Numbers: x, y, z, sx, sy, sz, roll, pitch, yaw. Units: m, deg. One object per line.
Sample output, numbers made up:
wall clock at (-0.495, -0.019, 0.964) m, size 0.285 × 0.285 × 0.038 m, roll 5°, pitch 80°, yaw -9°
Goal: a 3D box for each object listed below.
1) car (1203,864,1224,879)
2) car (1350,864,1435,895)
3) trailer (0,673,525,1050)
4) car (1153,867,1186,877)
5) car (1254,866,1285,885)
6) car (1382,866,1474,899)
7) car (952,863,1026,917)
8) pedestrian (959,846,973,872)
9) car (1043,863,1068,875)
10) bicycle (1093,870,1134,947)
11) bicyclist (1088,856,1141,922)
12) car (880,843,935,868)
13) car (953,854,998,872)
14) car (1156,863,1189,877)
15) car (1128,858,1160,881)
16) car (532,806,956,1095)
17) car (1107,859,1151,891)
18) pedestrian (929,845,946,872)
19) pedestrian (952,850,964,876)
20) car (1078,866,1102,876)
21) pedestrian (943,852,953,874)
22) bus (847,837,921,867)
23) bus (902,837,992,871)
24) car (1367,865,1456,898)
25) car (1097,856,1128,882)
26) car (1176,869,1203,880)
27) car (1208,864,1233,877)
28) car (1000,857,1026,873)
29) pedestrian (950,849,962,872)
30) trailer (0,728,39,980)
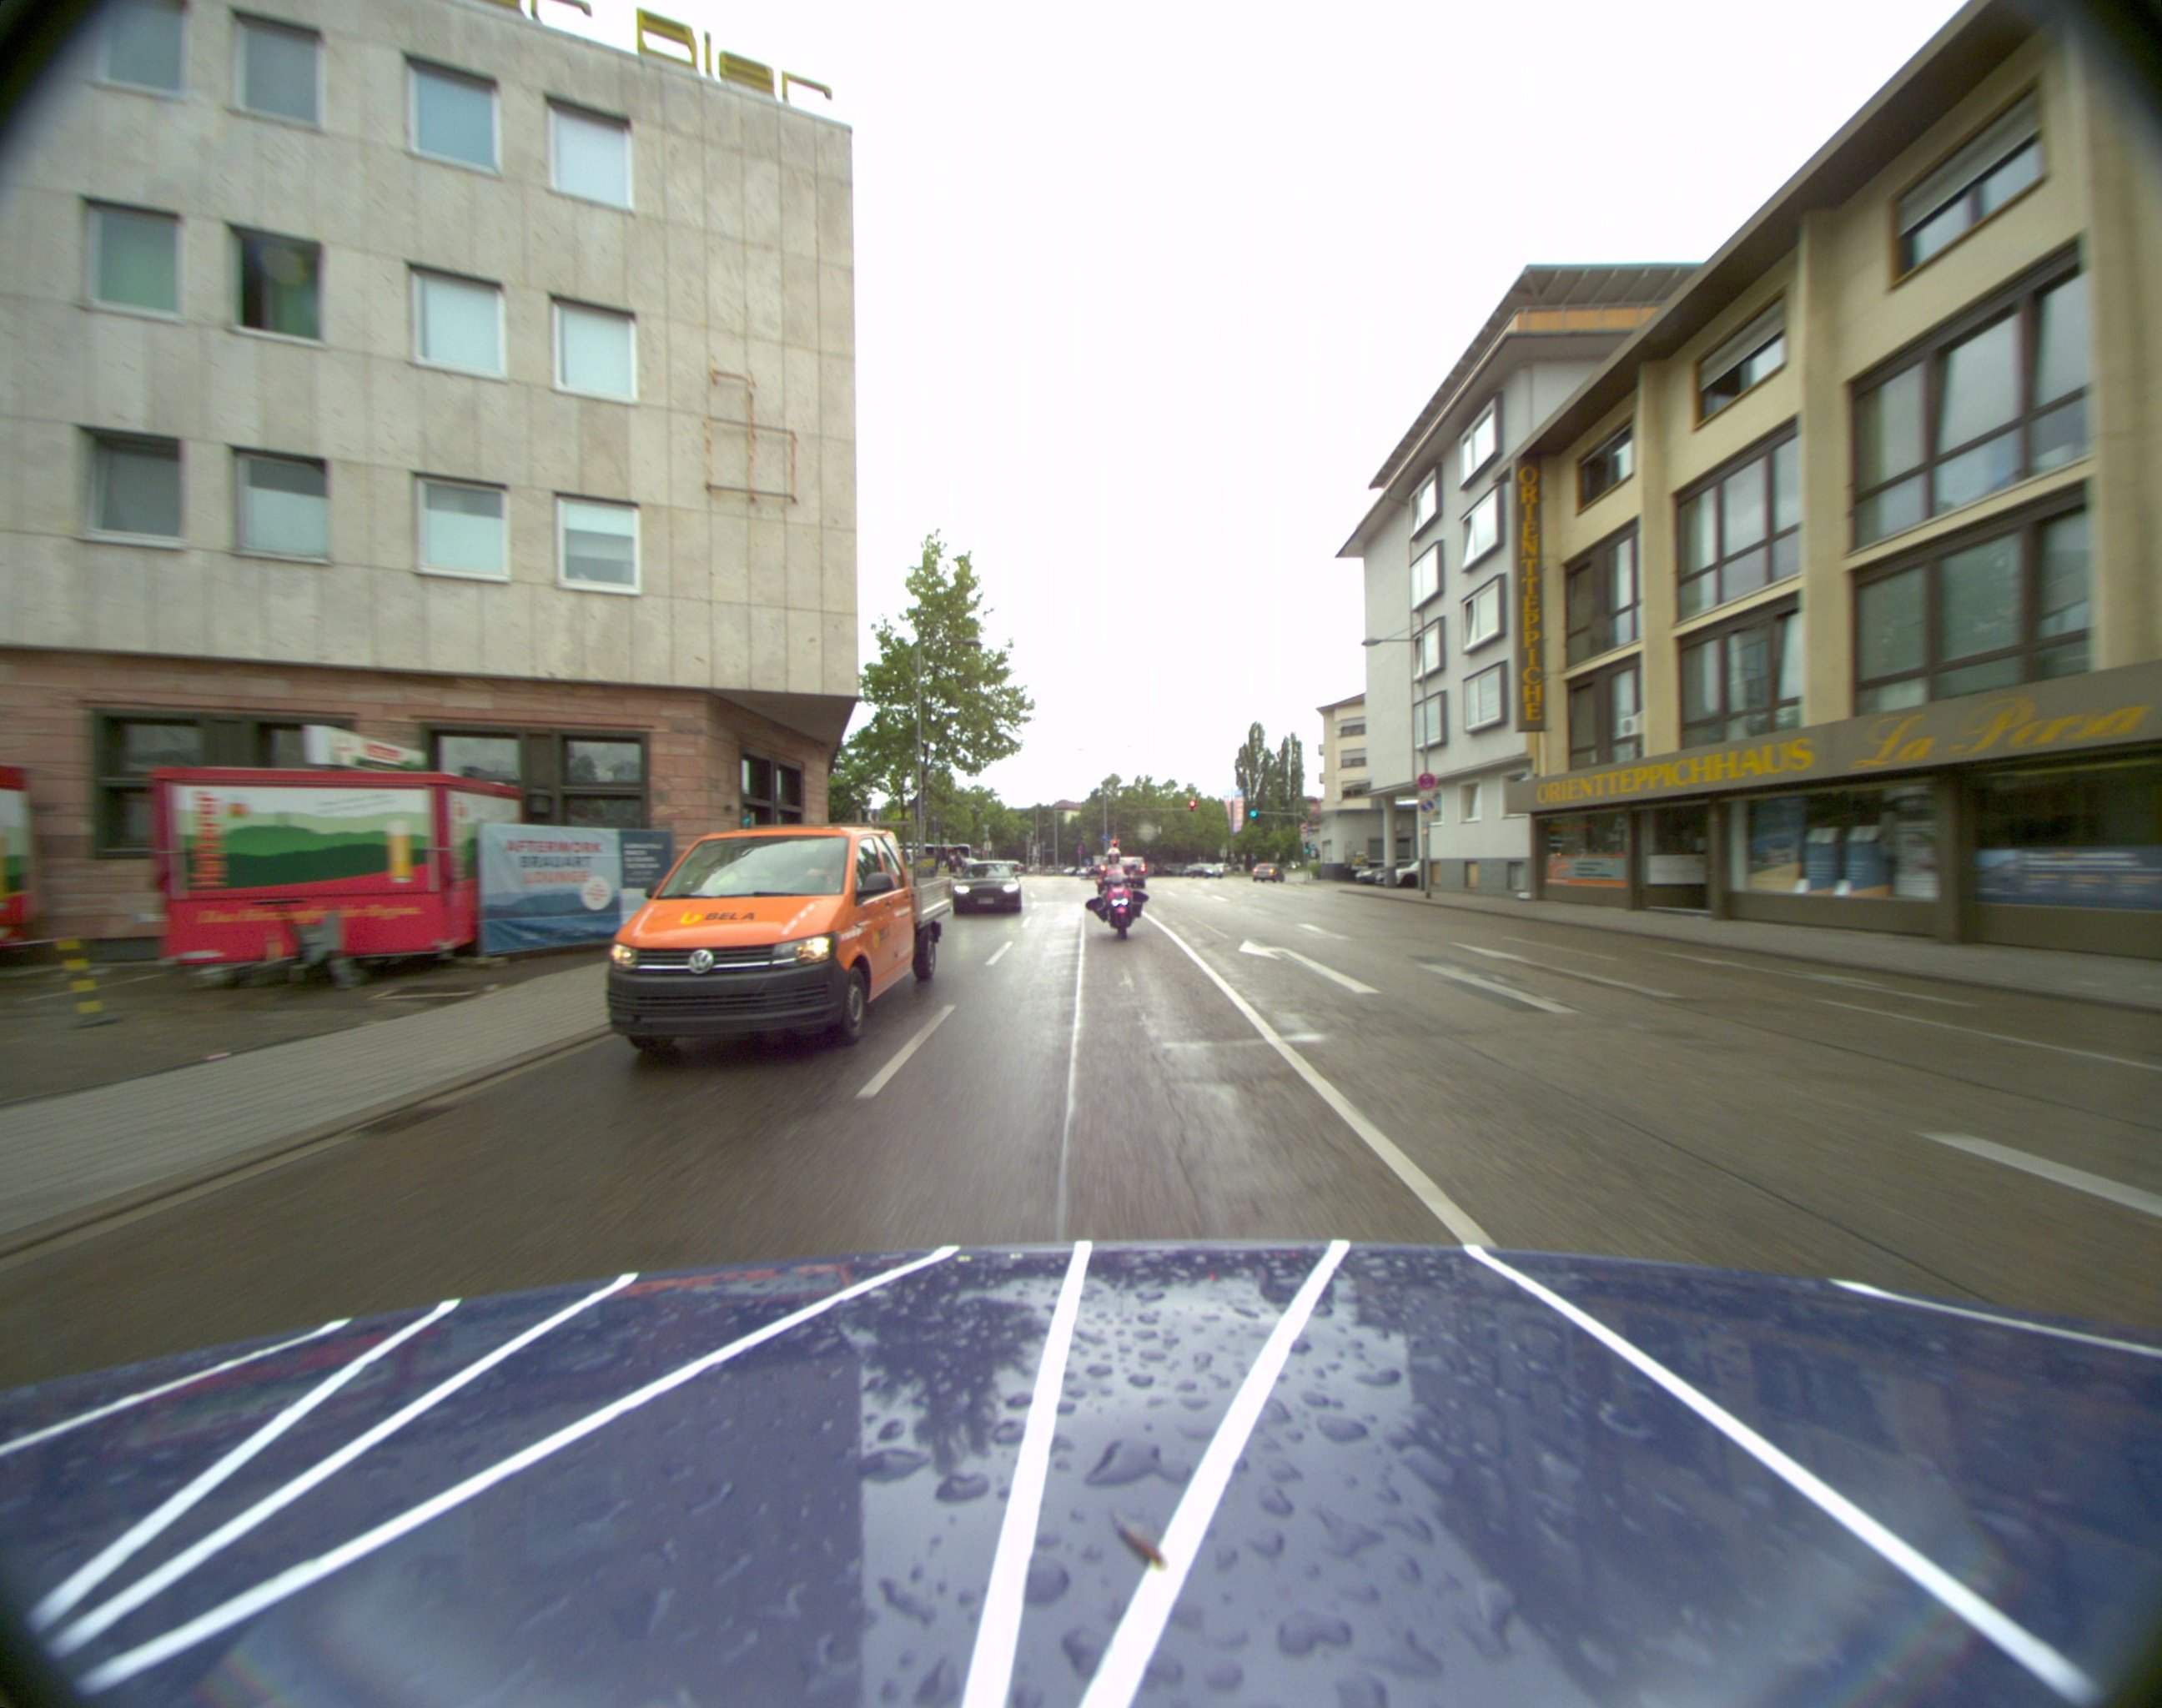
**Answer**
car at (12.911, 1.715, 74.163) m, size 1.802 × 1.425 × 4.400 m, roll -1°, pitch -1°, yaw 7°
car at (16.855, 1.357, 41.230) m, size 3.821 × 1.413 × 1.797 m, roll 3°, pitch 1°, yaw 2°
trailer at (-9.223, 0.059, 9.433) m, size 2.640 × 3.158 × 5.704 m, roll 1°, pitch 0°, yaw -25°
car at (14.024, 2.888, 120.230) m, size 4.742 × 1.396 × 1.866 m, roll -3°, pitch -2°, yaw 31°
car at (14.413, 1.626, 57.988) m, size 1.730 × 1.358 × 4.118 m, roll 0°, pitch -2°, yaw 21°
car at (16.469, 1.344, 36.130) m, size 3.632 × 1.330 × 1.495 m, roll 3°, pitch 0°, yaw -1°
car at (-2.891, 1.005, 23.135) m, size 1.898 × 1.396 × 4.357 m, roll -2°, pitch 0°, yaw -11°
pedestrian at (-8.249, 0.372, 54.421) m, size 0.744 × 1.819 × 0.693 m, roll 4°, pitch 0°, yaw -17°
car at (-3.644, 2.148, 110.994) m, size 1.758 × 1.581 × 4.186 m, roll 1°, pitch -1°, yaw 28°
bicycle at (0.636, 0.994, 14.647) m, size 0.717 × 1.298 × 2.428 m, roll 0°, pitch 0°, yaw 3°
bicyclist at (0.636, 0.681, 14.415) m, size 0.963 × 1.218 × 0.715 m, roll 0°, pitch -4°, yaw 3°
car at (-16.730, 0.100, 73.154) m, size 2.261 × 2.221 × 6.323 m, roll 2°, pitch 0°, yaw -43°
car at (-8.983, 0.786, 64.486) m, size 1.800 × 1.366 × 4.084 m, roll 2°, pitch 0°, yaw -42°
car at (15.036, 2.618, 124.597) m, size 4.839 × 1.930 × 1.955 m, roll -4°, pitch -2°, yaw 31°
car at (4.653, 1.160, 55.742) m, size 1.758 × 1.604 × 4.216 m, roll 1°, pitch -1°, yaw 12°
car at (-2.893, 0.713, 8.269) m, size 2.107 × 2.077 × 5.541 m, roll 0°, pitch 0°, yaw 0°
car at (2.268, 0.973, 36.940) m, size 1.737 × 1.431 × 4.412 m, roll 1°, pitch 0°, yaw -1°
pedestrian at (-9.338, 0.279, 49.432) m, size 0.574 × 1.677 × 0.961 m, roll 4°, pitch 1°, yaw -36°
pedestrian at (-9.464, 0.677, 58.487) m, size 0.589 × 2.001 × 0.786 m, roll 3°, pitch -1°, yaw -24°
car at (1.385, 2.563, 113.812) m, size 1.734 × 1.431 × 4.454 m, roll 1°, pitch -2°, yaw 27°
pedestrian at (-10.238, 0.698, 58.494) m, size 0.559 × 1.695 × 0.527 m, roll 3°, pitch -1°, yaw -23°
bus at (-21.942, -0.256, 84.260) m, size 8.535 × 3.162 × 2.693 m, roll 1°, pitch 0°, yaw 31°
bus at (-14.151, -0.024, 79.709) m, size 9.630 × 3.197 × 2.711 m, roll 2°, pitch -1°, yaw 30°
car at (16.938, 1.398, 39.049) m, size 3.766 × 1.412 × 1.638 m, roll 3°, pitch 0°, yaw 2°
car at (1.847, 0.881, 43.660) m, size 1.559 × 1.389 × 3.730 m, roll -1°, pitch -2°, yaw 6°
car at (14.494, 2.727, 100.975) m, size 1.892 × 1.479 × 4.371 m, roll 2°, pitch 0°, yaw 32°
car at (17.218, 2.056, 93.568) m, size 1.893 × 1.566 × 4.370 m, roll 2°, pitch 0°, yaw 25°
car at (-10.918, 1.768, 122.456) m, size 1.968 × 2.305 × 5.023 m, roll 1°, pitch -1°, yaw 25°
pedestrian at (-8.935, 0.457, 54.222) m, size 0.602 × 1.590 × 0.705 m, roll 4°, pitch 0°, yaw -17°
trailer at (-14.506, -0.008, 7.088) m, size 2.753 × 3.288 × 6.061 m, roll 0°, pitch 0°, yaw -21°
